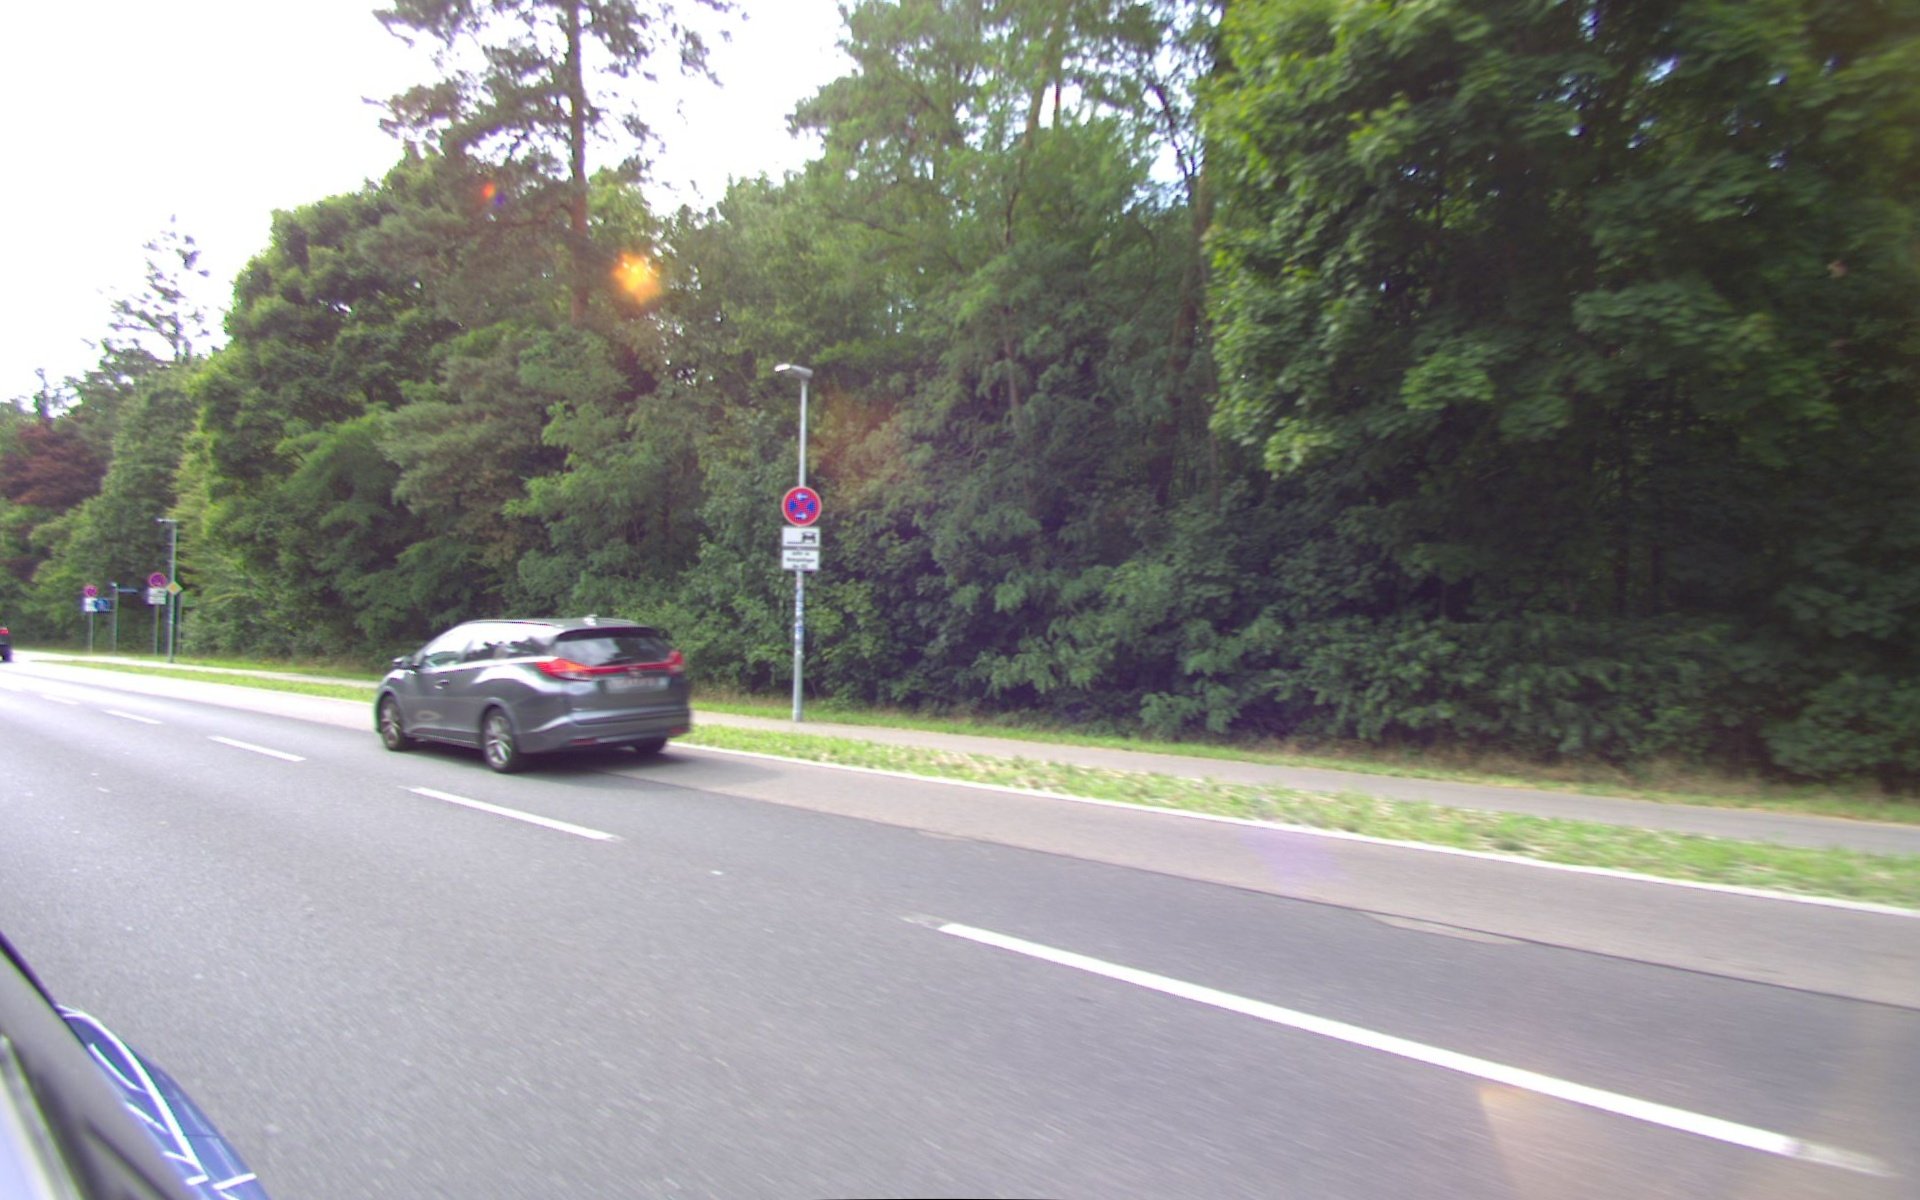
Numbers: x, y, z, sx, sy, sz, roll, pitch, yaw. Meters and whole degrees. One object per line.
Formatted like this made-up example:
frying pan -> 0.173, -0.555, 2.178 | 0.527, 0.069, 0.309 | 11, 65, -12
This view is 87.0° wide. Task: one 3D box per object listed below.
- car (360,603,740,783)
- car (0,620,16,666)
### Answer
car -> -4.478, 0.791, 10.688 | 4.536, 1.495, 1.877 | 0, -1, 41
car -> -36.695, 1.621, 37.453 | 4.660, 1.628, 1.974 | 0, 3, 40
